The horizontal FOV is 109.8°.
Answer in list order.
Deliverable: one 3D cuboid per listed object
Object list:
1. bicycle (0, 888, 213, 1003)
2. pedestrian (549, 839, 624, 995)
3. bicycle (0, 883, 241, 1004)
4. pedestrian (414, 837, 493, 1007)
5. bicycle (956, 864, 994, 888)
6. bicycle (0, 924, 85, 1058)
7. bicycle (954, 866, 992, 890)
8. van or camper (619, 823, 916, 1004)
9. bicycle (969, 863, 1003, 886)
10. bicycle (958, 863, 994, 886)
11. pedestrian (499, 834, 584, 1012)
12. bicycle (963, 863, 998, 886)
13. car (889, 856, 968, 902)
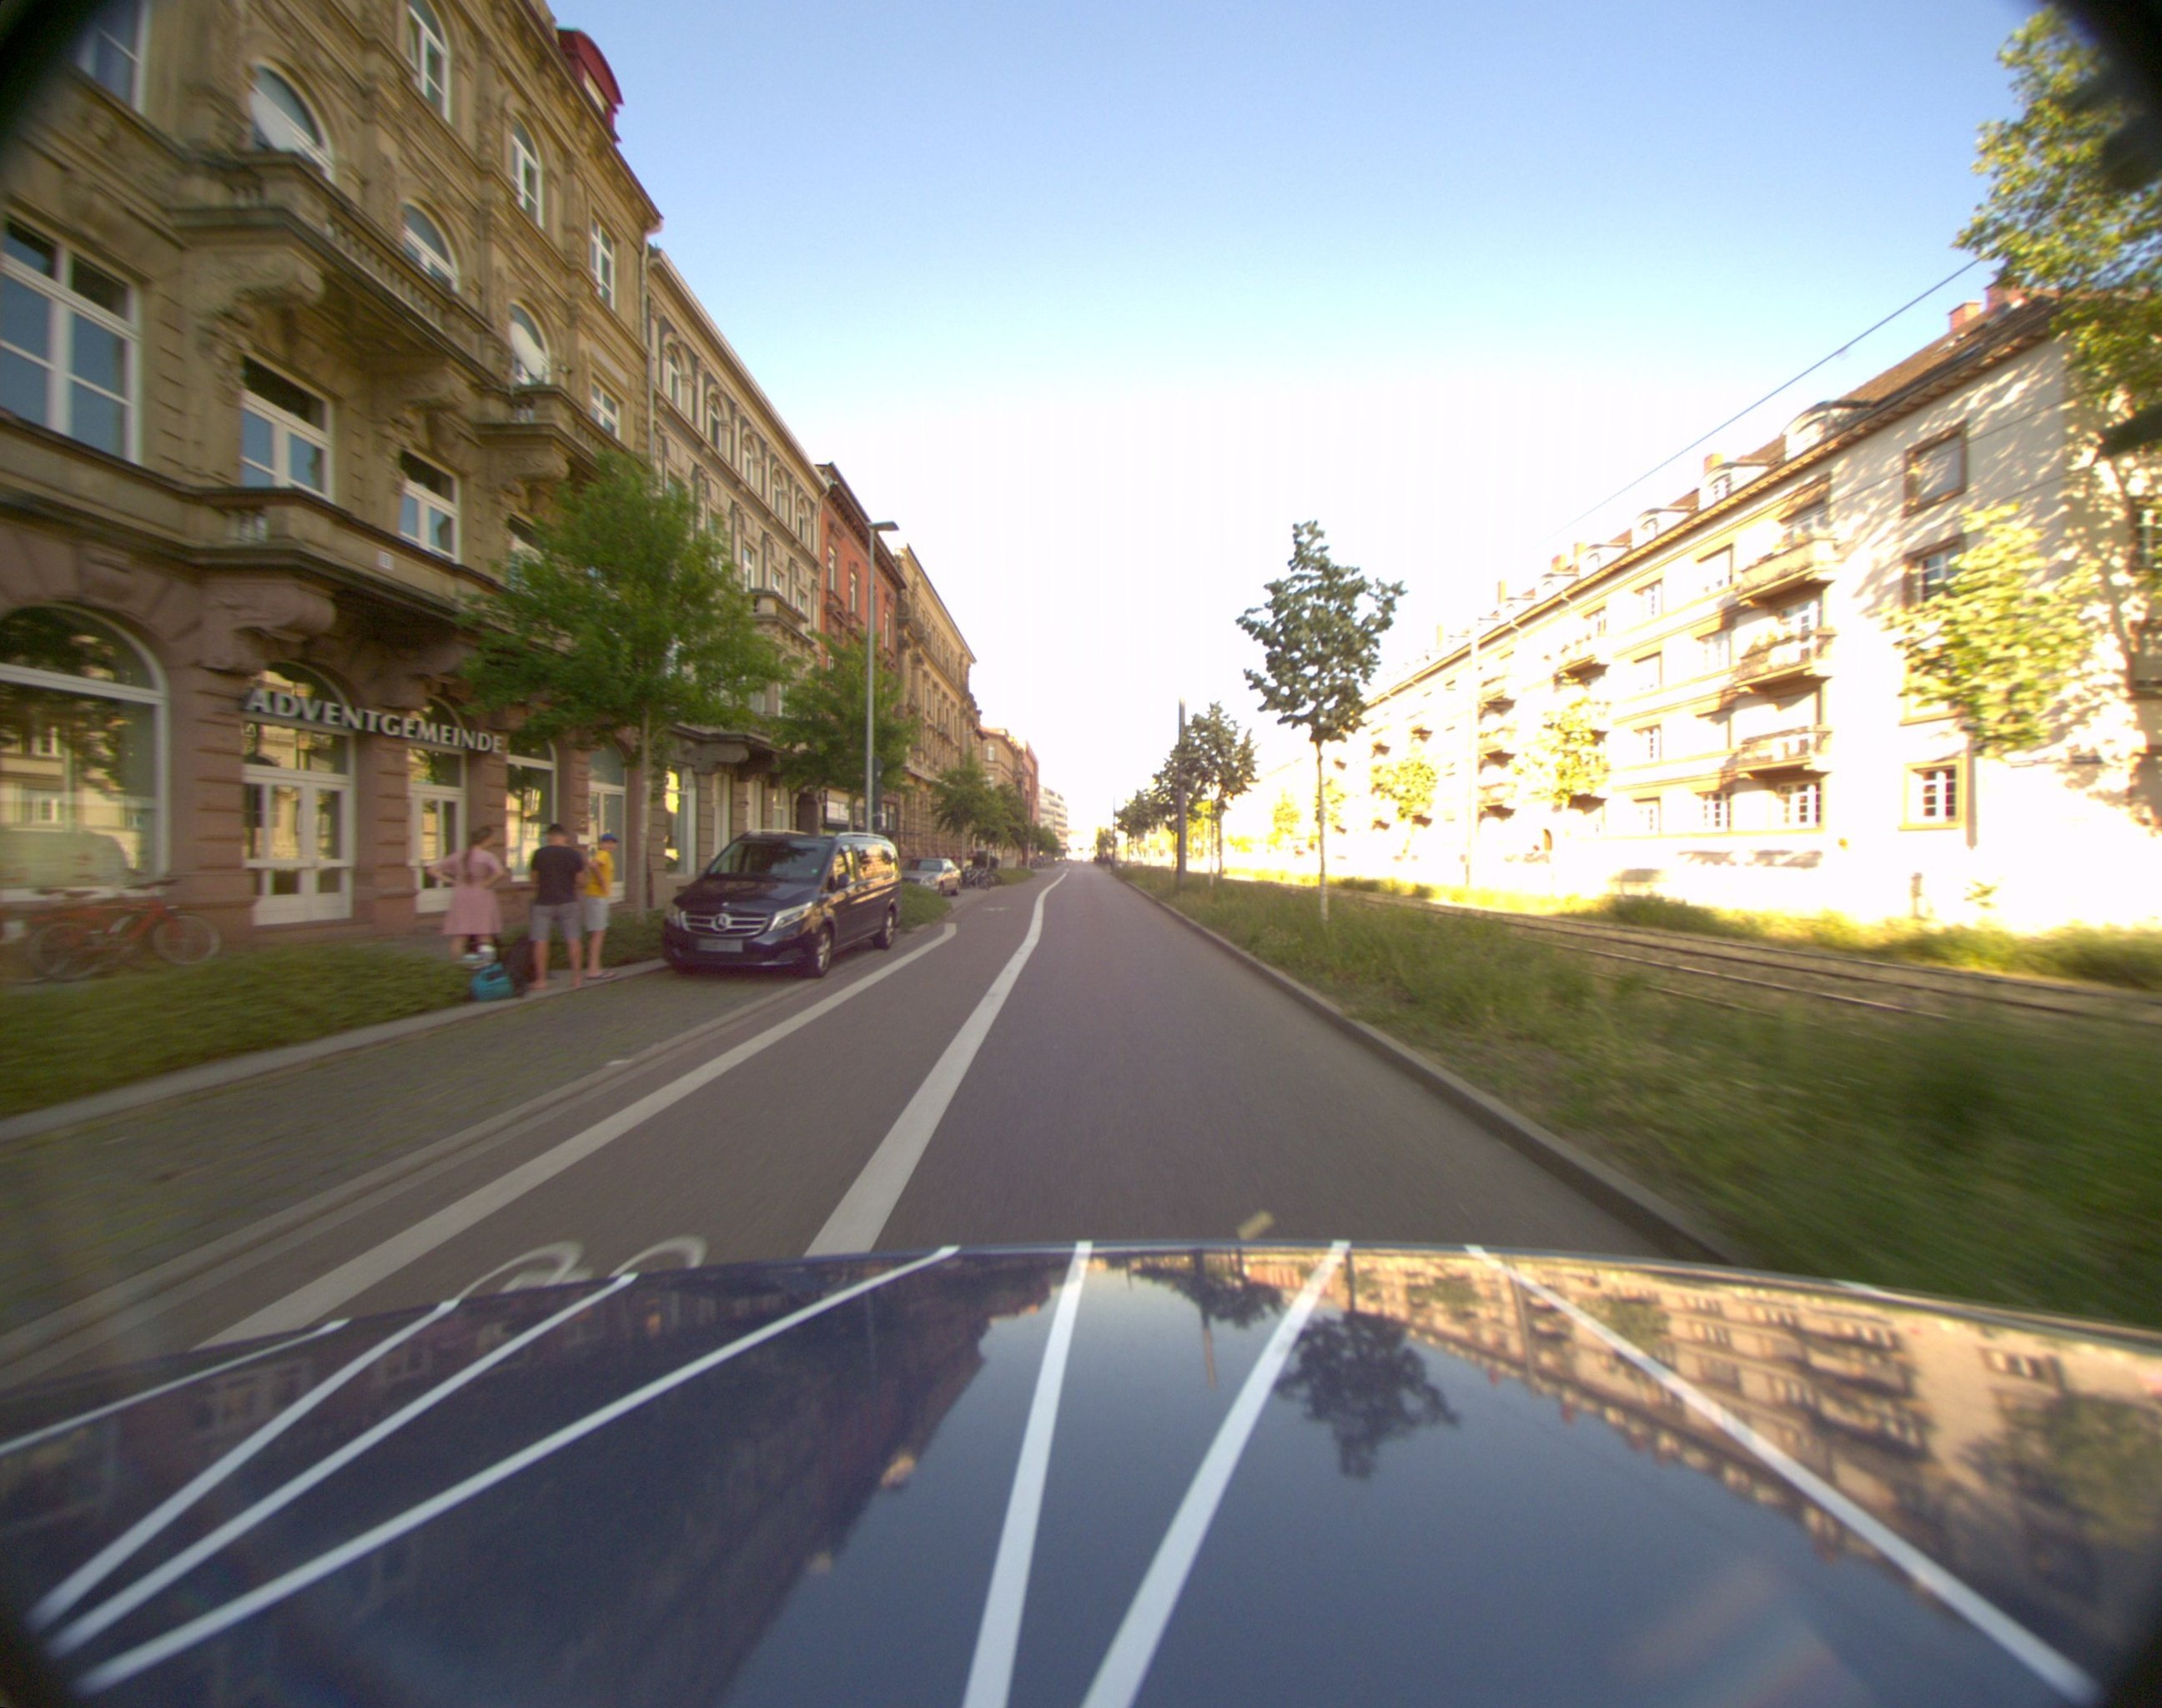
[{"bbox_3d":[-10.739,0.937,8.198,0.344,1.027,2.072,0,0,1],"label":"bicycle"},{"bbox_3d":[-5.599,0.695,8.617,0.505,1.718,0.490,0,1,0],"label":"pedestrian"},{"bbox_3d":[-10.391,0.889,8.194,0.325,1.058,2.072,0,0,1],"label":"bicycle"},{"bbox_3d":[-6.627,0.686,8.022,0.578,1.718,0.481,-1,1,-44],"label":"pedestrian"},{"bbox_3d":[-4.892,1.010,35.165,1.692,1.112,0.530,0,0,3],"label":"bicycle"},{"bbox_3d":[-8.010,0.997,5.006,0.656,0.910,1.682,0,0,1],"label":"bicycle"},{"bbox_3d":[-4.784,1.065,33.784,1.613,1.046,0.478,0,0,3],"label":"bicycle"},{"bbox_3d":[-4.134,0.669,11.297,1.965,1.960,5.488,2,0,1],"label":"van or camper"},{"bbox_3d":[-4.795,1.029,38.313,1.693,1.112,0.530,0,0,-4],"label":"bicycle"},{"bbox_3d":[-5.126,0.980,37.118,1.692,1.112,0.530,0,0,3],"label":"bicycle"},{"bbox_3d":[-5.546,0.682,7.822,0.470,1.768,0.506,0,1,20],"label":"pedestrian"},{"bbox_3d":[-4.804,0.982,36.472,1.584,1.112,0.577,0,0,3],"label":"bicycle"},{"bbox_3d":[-5.481,0.850,27.861,1.694,1.476,4.744,2,0,2],"label":"car"}]
